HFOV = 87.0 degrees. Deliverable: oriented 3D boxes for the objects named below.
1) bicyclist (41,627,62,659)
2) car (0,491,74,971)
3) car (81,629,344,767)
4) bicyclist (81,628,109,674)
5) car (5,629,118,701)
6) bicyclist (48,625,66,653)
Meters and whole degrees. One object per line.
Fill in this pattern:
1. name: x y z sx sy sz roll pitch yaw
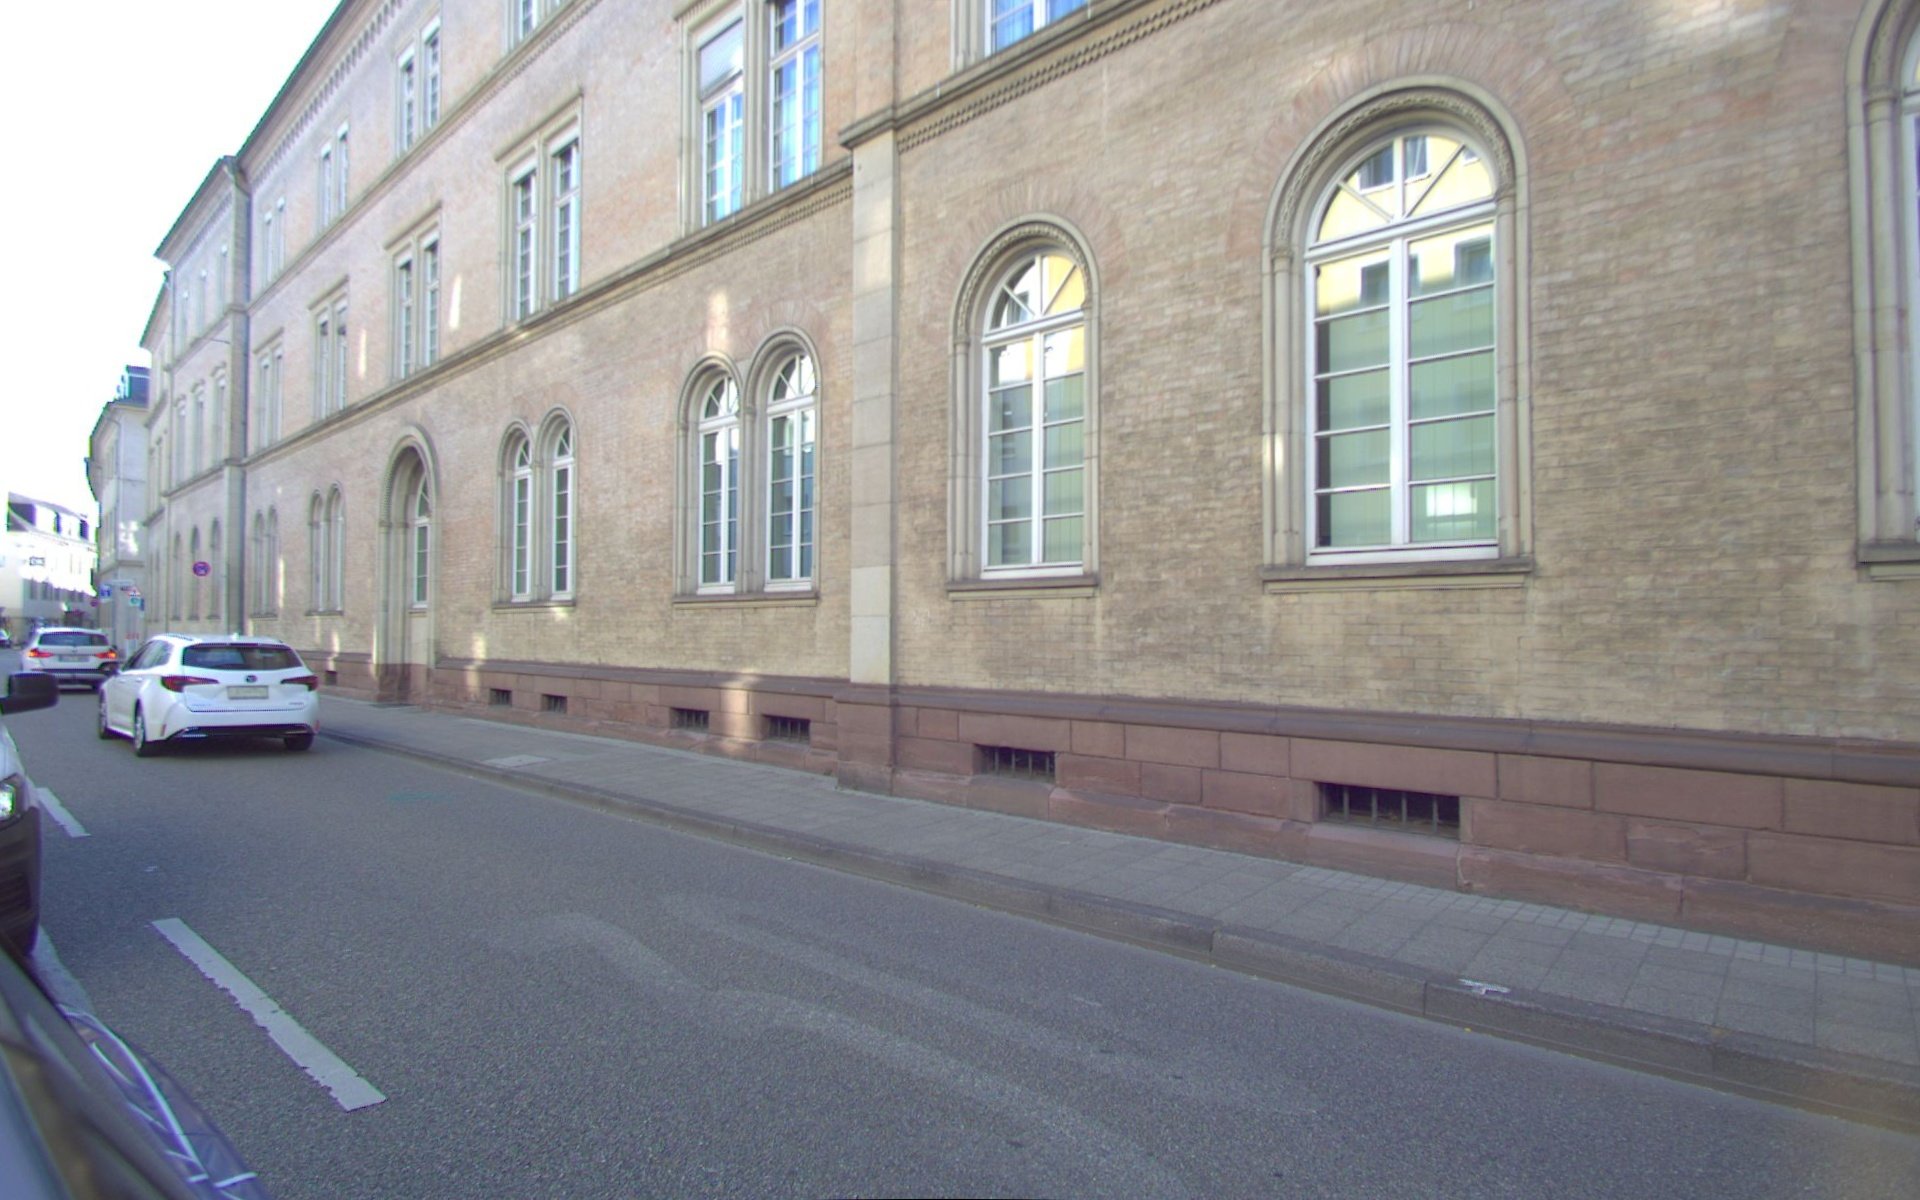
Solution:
1. bicyclist: -45.248 2.142 50.393 0.961 1.579 0.642 -2 -5 45
2. car: -6.167 0.549 5.140 5.338 1.850 1.795 -2 -3 41
3. car: -9.844 1.156 13.188 4.544 1.487 1.866 -1 -4 43
4. bicyclist: -27.879 1.633 32.618 0.579 1.454 0.596 -2 -3 45
5. car: -21.857 1.550 24.563 4.276 1.595 1.666 -2 -5 44
6. bicyclist: -50.903 2.197 57.031 0.642 1.520 1.113 5 -5 -41
